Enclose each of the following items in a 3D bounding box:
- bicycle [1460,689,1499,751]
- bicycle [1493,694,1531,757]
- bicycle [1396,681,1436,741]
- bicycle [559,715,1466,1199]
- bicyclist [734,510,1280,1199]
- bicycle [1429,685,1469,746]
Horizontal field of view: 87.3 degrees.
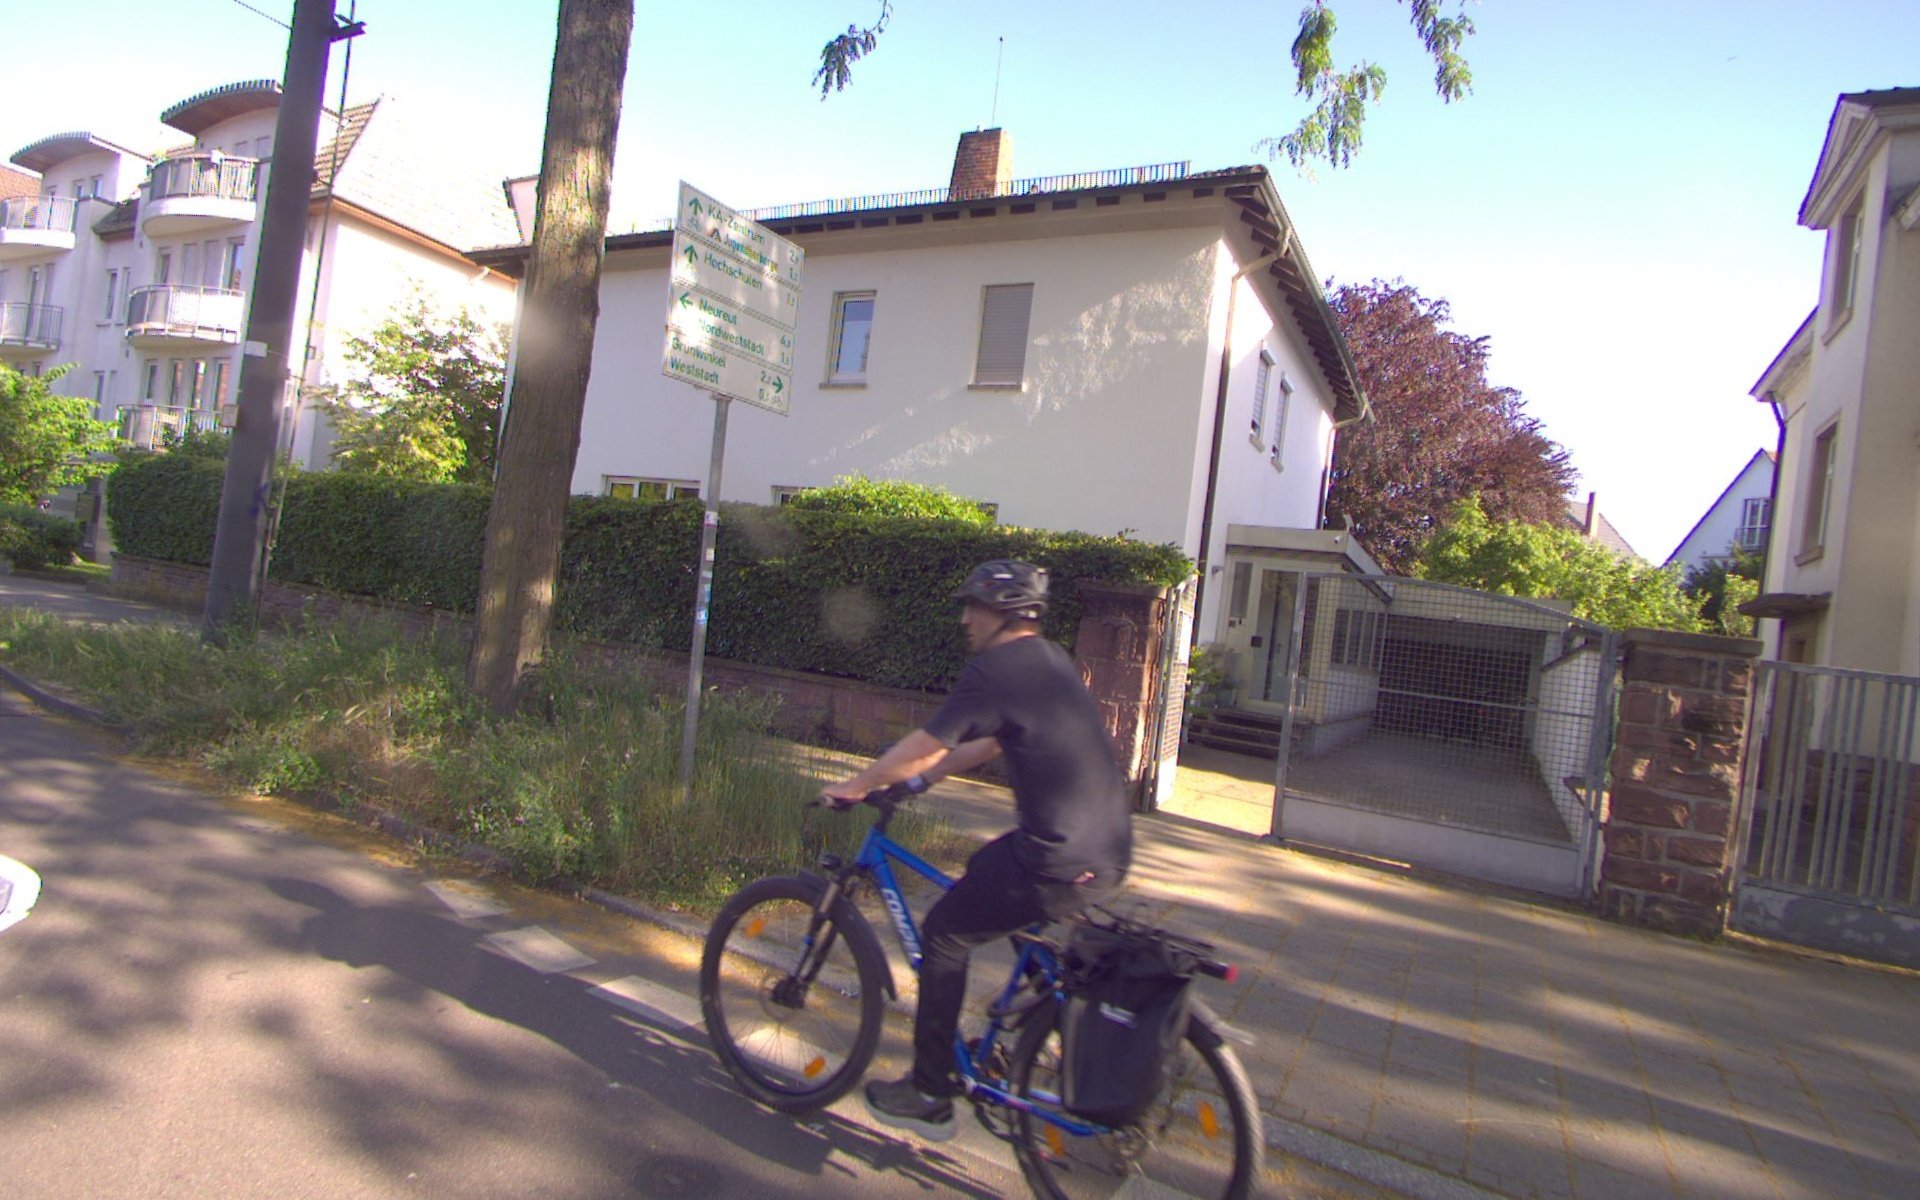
[{"bbox_3d":[10.483,2.411,20.271,0.512,1.135,1.465,7,-2,30],"label":"bicycle"},{"bbox_3d":[10.929,2.477,19.902,0.512,1.135,1.465,7,-2,30],"label":"bicycle"},{"bbox_3d":[9.496,2.306,20.933,0.512,1.135,1.465,7,-2,30],"label":"bicycle"},{"bbox_3d":[0.036,1.039,2.570,2.061,1.167,0.831,6,-3,34],"label":"bicycle"},{"bbox_3d":[0.146,0.618,2.535,0.919,1.519,0.822,6,-1,33],"label":"bicyclist"},{"bbox_3d":[10.007,2.360,20.569,0.512,1.135,1.465,7,-2,30],"label":"bicycle"}]
